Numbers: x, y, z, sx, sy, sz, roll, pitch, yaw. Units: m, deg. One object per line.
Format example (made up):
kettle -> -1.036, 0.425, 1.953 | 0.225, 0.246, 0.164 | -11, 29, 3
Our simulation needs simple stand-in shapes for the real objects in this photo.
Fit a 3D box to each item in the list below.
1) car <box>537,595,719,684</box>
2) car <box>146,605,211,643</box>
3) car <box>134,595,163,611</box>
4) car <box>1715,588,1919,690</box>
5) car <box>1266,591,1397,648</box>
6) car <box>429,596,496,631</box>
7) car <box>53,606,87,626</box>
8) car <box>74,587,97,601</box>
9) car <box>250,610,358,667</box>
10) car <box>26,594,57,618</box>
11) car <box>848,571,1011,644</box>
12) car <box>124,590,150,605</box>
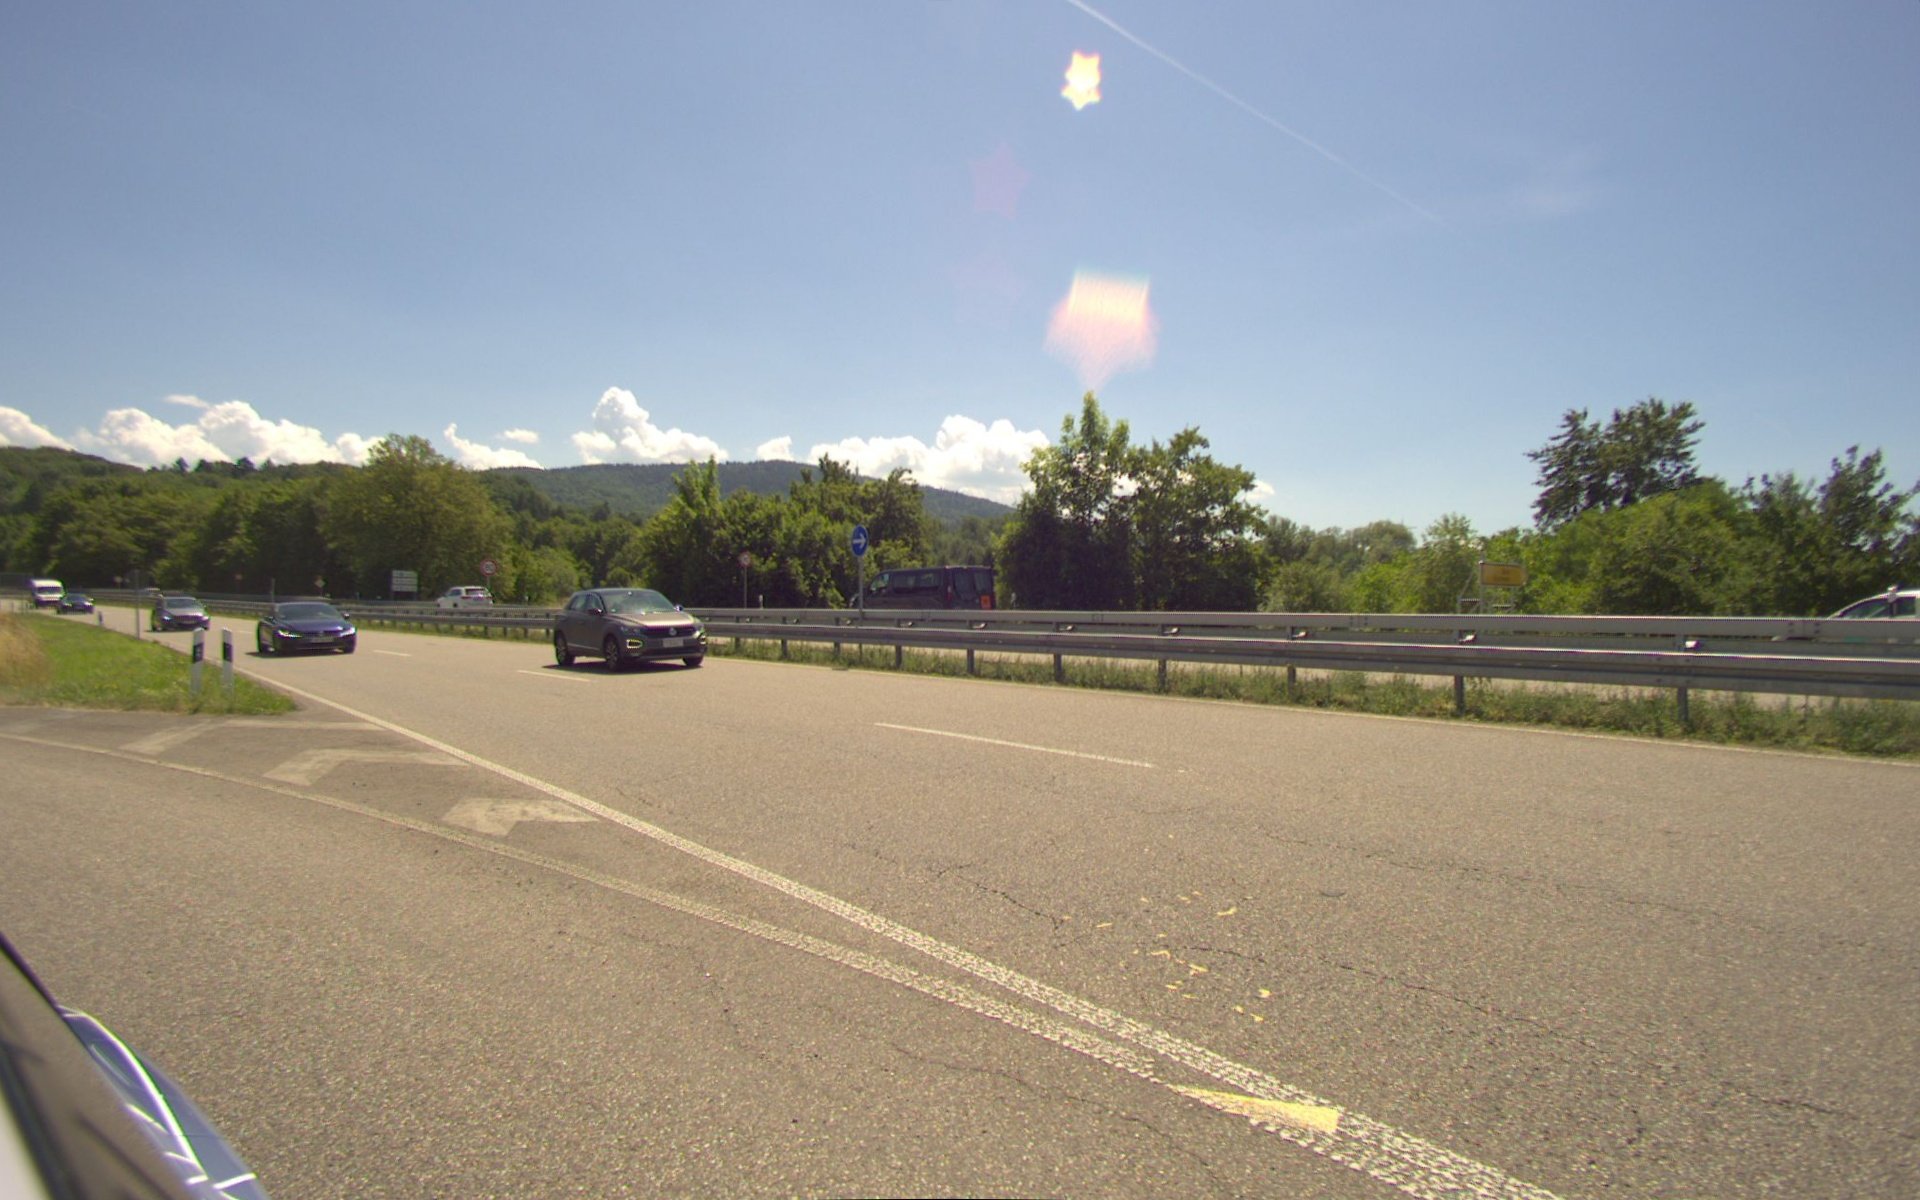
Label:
car -> -6.705, 0.718, 20.145 | 1.819, 1.541, 4.476 | -2, 1, -41
car -> -36.641, 1.111, 47.425 | 4.555, 1.680, 1.773 | -1, 0, 44
car -> -94.200, 0.297, 117.473 | 4.911, 1.764, 1.910 | 1, 1, 42
car -> 18.804, 0.733, 20.709 | 2.173, 1.907, 4.929 | 0, 1, -25
car -> 13.583, 0.653, 37.369 | 1.908, 1.907, 4.927 | 0, 1, -17
car -> -28.946, 0.752, 58.831 | 4.914, 1.907, 1.971 | 1, 1, 44
car -> -66.622, 1.157, 75.738 | 1.819, 1.418, 4.475 | -1, 1, -42
car -> -127.898, -0.889, 147.926 | 4.912, 1.907, 1.972 | 1, 1, 42
car -> -18.278, 1.015, 28.112 | 1.819, 1.418, 4.475 | -2, 1, -42
car -> -82.058, 0.536, 90.401 | 1.979, 2.014, 4.584 | -1, 1, -43
car -> -0.965, 0.147, 28.804 | 2.175, 1.907, 4.923 | 0, 1, -37
car -> -108.928, -0.293, 133.996 | 4.912, 1.907, 1.972 | 1, 1, 42
